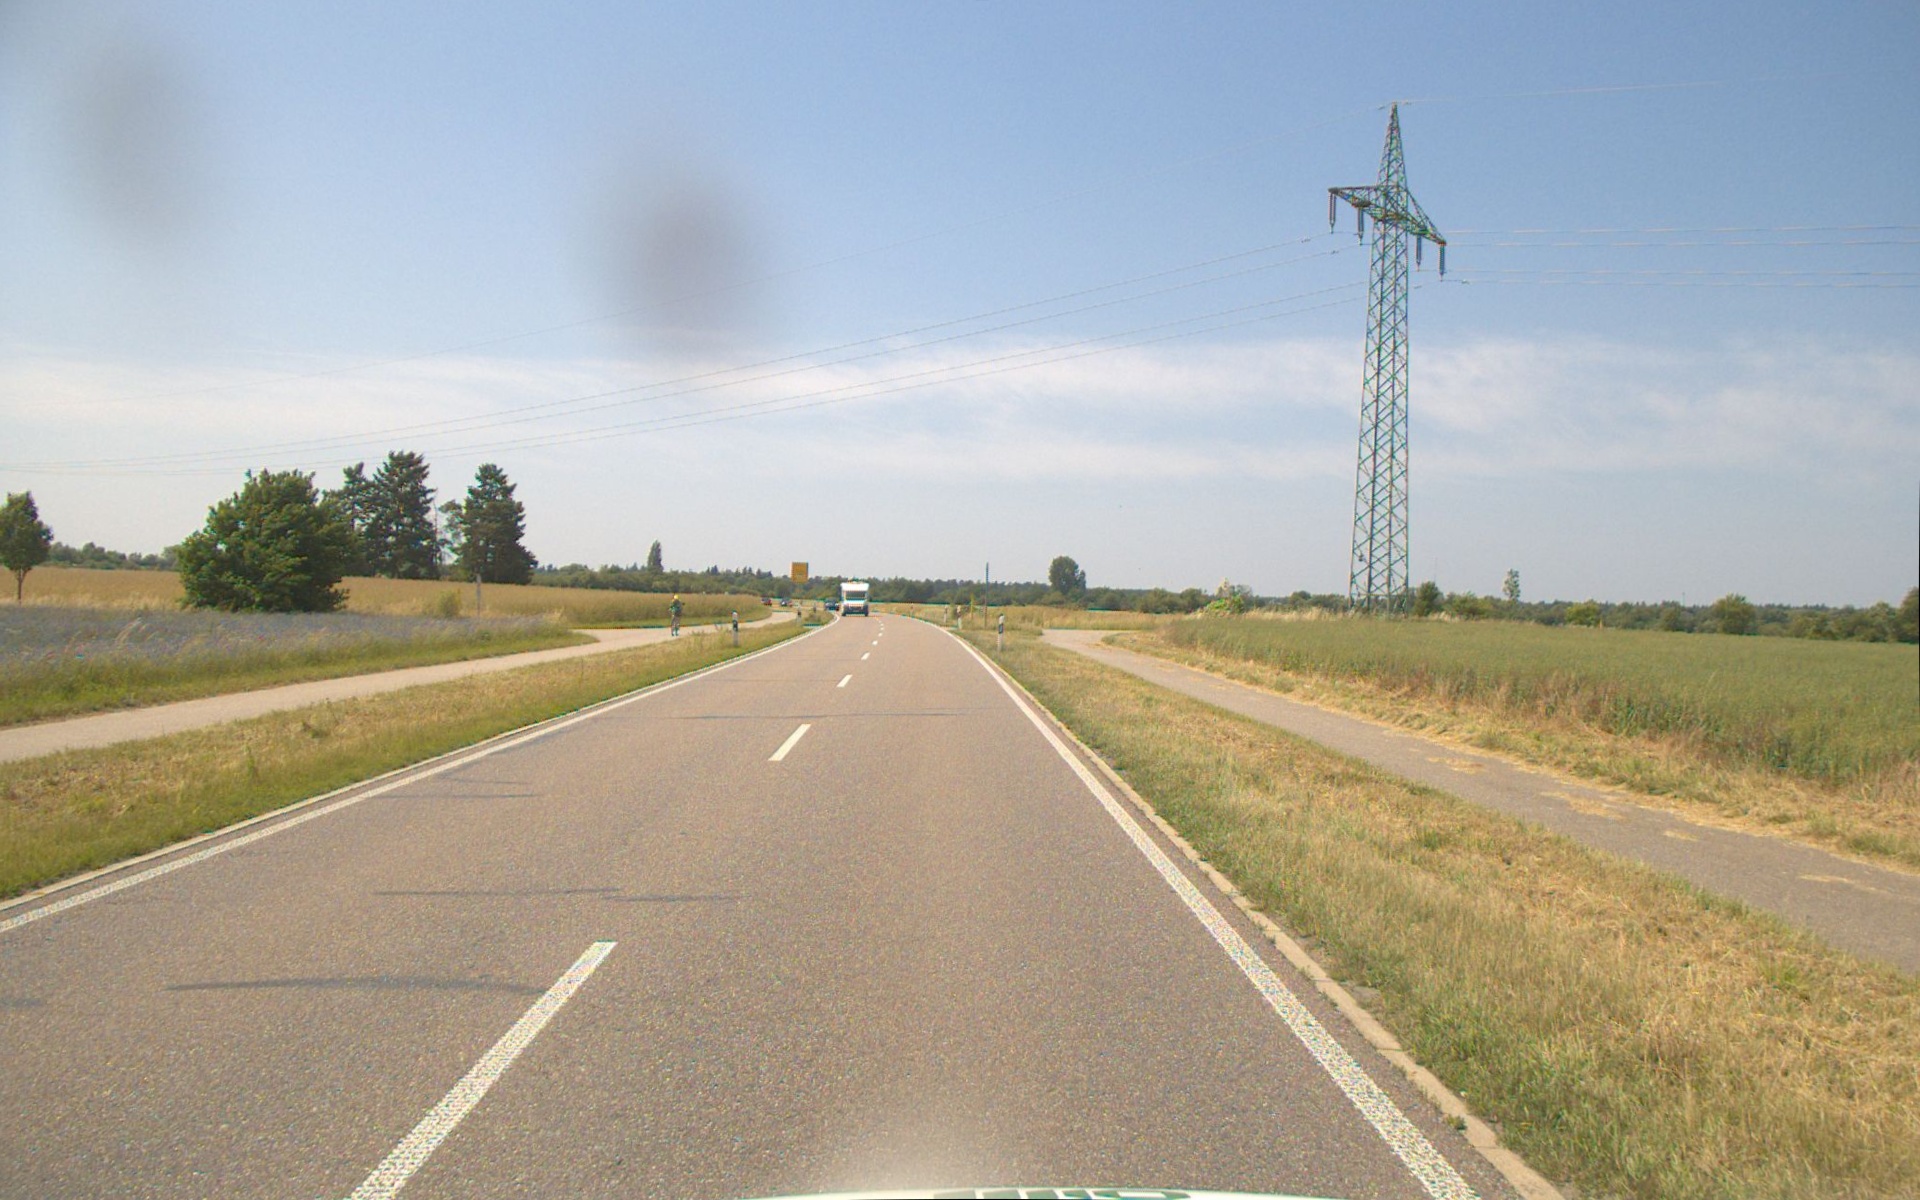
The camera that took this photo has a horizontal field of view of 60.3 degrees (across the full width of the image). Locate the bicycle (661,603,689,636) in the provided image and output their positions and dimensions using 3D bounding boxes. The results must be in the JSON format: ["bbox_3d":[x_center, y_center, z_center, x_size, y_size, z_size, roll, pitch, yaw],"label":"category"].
[{"bbox_3d":[-11.061,0.748,64.344,0.747,1.250,2.215,1,0,-2],"label":"bicycle"}]

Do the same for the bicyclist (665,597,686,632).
[{"bbox_3d":[-11.058,0.552,64.298,0.687,1.354,0.965,1,0,-2],"label":"bicyclist"}]

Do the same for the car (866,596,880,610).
[{"bbox_3d":[-10.144,0.327,192.677,1.591,1.517,3.997,1,0,-3],"label":"car"}]

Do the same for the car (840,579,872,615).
[{"bbox_3d":[-8.593,-0.280,136.965,2.349,2.896,7.625,1,0,-2],"label":"car"}]
